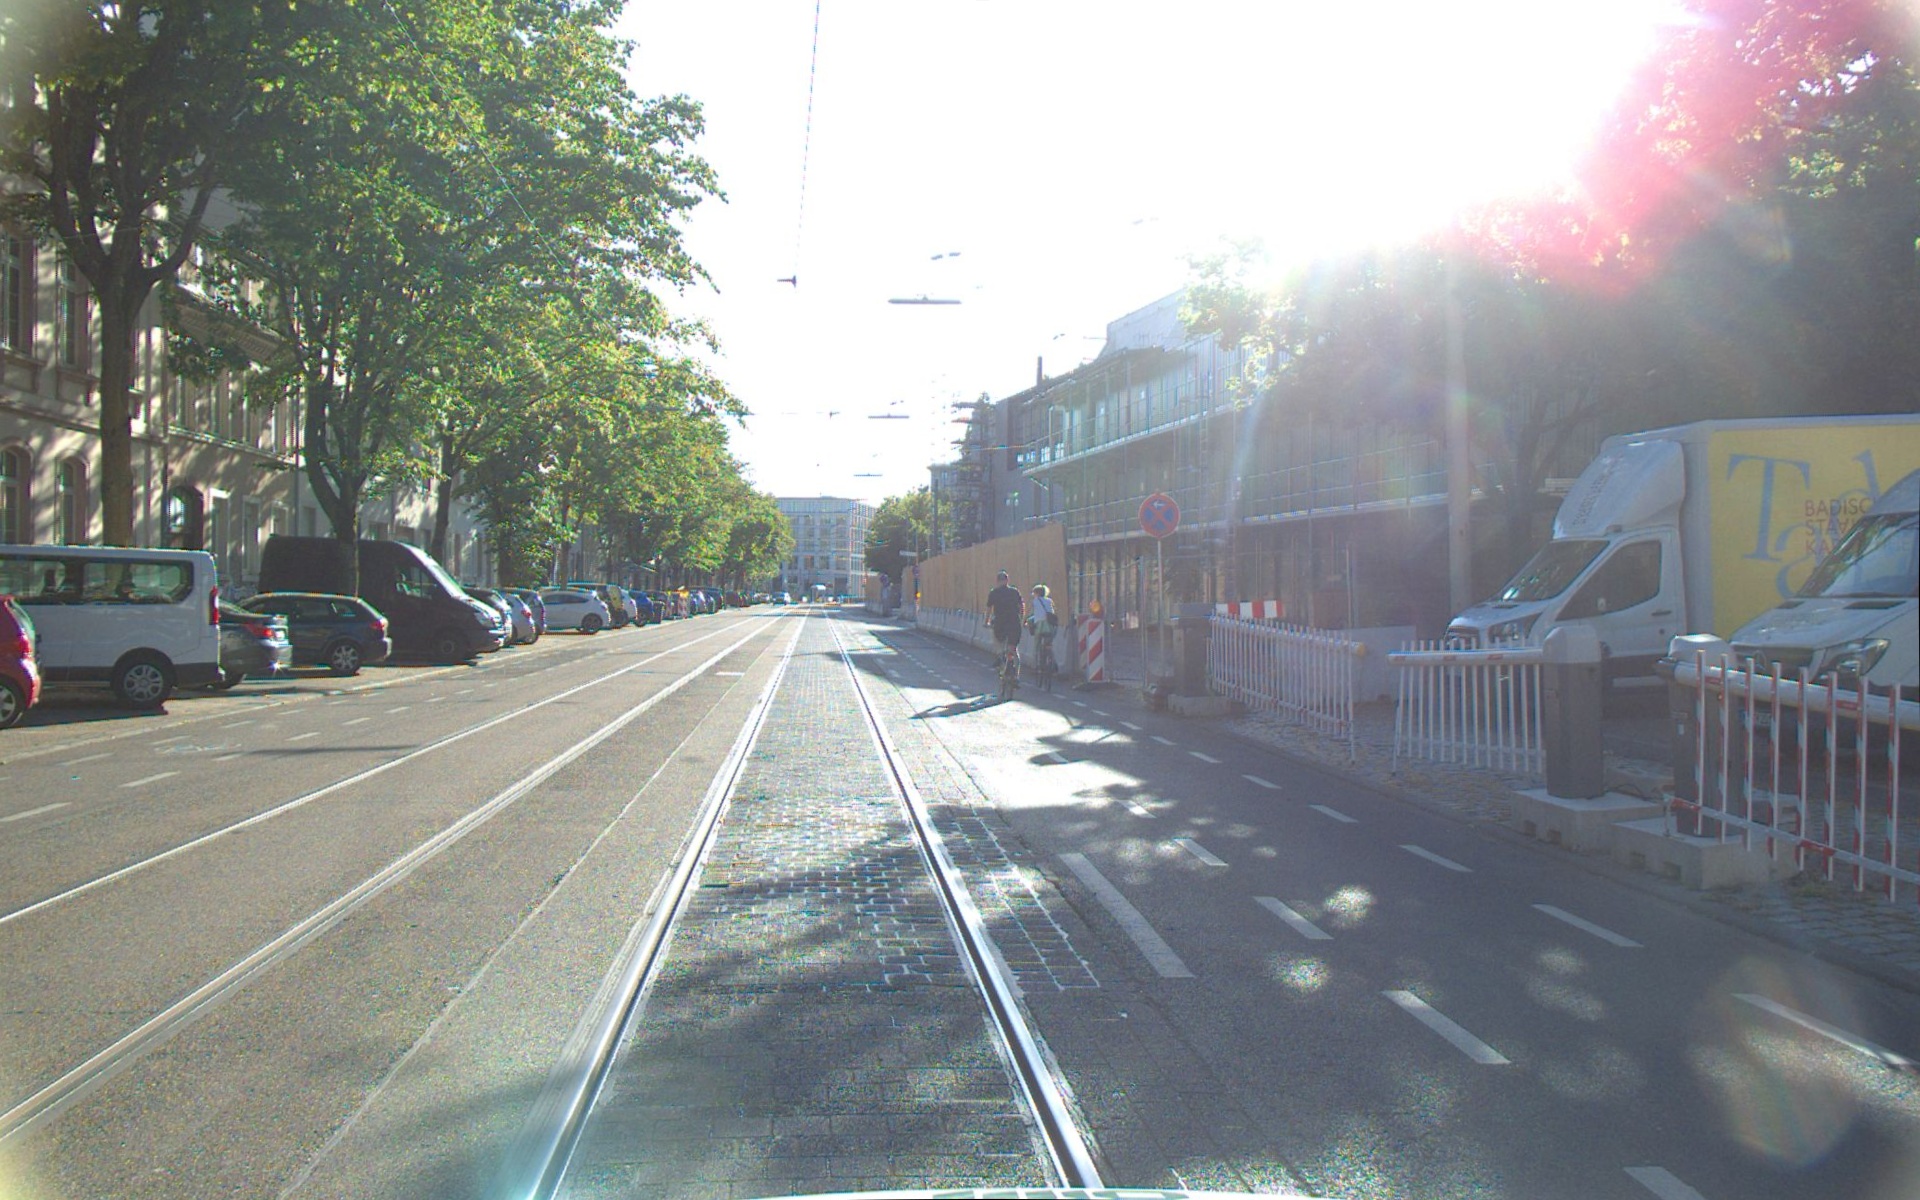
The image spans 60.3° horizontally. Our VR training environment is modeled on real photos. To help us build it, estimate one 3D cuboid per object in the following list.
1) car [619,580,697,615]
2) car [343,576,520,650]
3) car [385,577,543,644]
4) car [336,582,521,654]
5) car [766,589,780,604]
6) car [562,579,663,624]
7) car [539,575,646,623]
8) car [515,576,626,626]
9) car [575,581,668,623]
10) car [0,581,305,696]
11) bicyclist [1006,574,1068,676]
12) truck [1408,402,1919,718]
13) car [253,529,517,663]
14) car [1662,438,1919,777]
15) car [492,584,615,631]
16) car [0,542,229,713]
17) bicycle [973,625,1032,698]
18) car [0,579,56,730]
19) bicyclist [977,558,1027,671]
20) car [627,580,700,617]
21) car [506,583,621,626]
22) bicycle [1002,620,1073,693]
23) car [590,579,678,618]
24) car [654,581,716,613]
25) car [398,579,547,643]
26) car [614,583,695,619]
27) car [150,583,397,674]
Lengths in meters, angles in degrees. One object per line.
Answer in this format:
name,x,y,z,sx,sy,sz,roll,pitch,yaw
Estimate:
car,-17.572,-0.154,96.214,4.039,1.784,1.812,3,-1,-27
car,-13.300,0.332,41.882,4.015,1.636,1.823,3,-1,-13
car,-13.825,0.298,46.344,4.015,1.636,1.823,3,-1,-13
car,-12.652,0.426,39.608,4.015,1.636,1.823,1,0,-13
car,-24.004,-0.453,212.268,1.649,1.869,3.864,3,-1,-9
car,-15.508,0.084,73.861,4.039,1.784,1.812,3,-1,-27
car,-15.592,-0.040,70.187,4.039,1.784,1.812,3,-1,-27
car,-15.865,0.038,67.348,4.039,1.784,1.812,3,-1,-27
car,-16.425,0.095,80.309,4.039,1.784,1.812,3,-1,-27
car,-11.925,0.547,24.251,4.017,1.444,1.822,3,-1,-14
bicyclist,1.282,0.406,27.898,0.875,1.668,1.099,1,0,-5
truck,9.204,-0.505,19.814,6.959,3.406,2.388,-2,0,-5
car,-12.703,-0.071,36.896,5.084,2.623,2.241,3,-1,-9
car,9.049,-0.077,14.144,5.264,2.574,1.996,-3,1,-8
car,-14.788,0.280,60.184,4.035,1.478,1.814,3,-1,-26
car,-12.005,0.314,20.477,5.272,2.026,2.019,0,1,-29
bicycle,0.629,0.909,25.164,0.667,1.036,1.919,0,0,-6
car,-11.596,0.572,17.699,3.274,1.529,1.675,0,3,-26
bicyclist,0.631,0.220,25.160,0.667,1.687,0.811,0,0,-6
car,-18.510,-0.082,103.324,4.039,2.090,1.812,3,-1,-27
car,-15.530,0.173,64.802,4.035,1.478,1.814,3,-1,-26
bicycle,1.278,0.919,27.762,0.875,1.112,2.428,1,0,-5
car,-16.745,-0.089,84.993,4.039,1.784,1.812,3,-1,-27
car,-19.995,-0.226,120.471,4.039,2.090,1.812,3,-1,-27
car,-14.341,0.324,48.840,4.015,1.636,1.823,3,-1,-13
car,-17.151,0.047,92.896,4.039,1.784,1.812,3,-1,-27
car,-12.593,0.521,30.549,4.030,1.444,1.816,3,-1,-22
